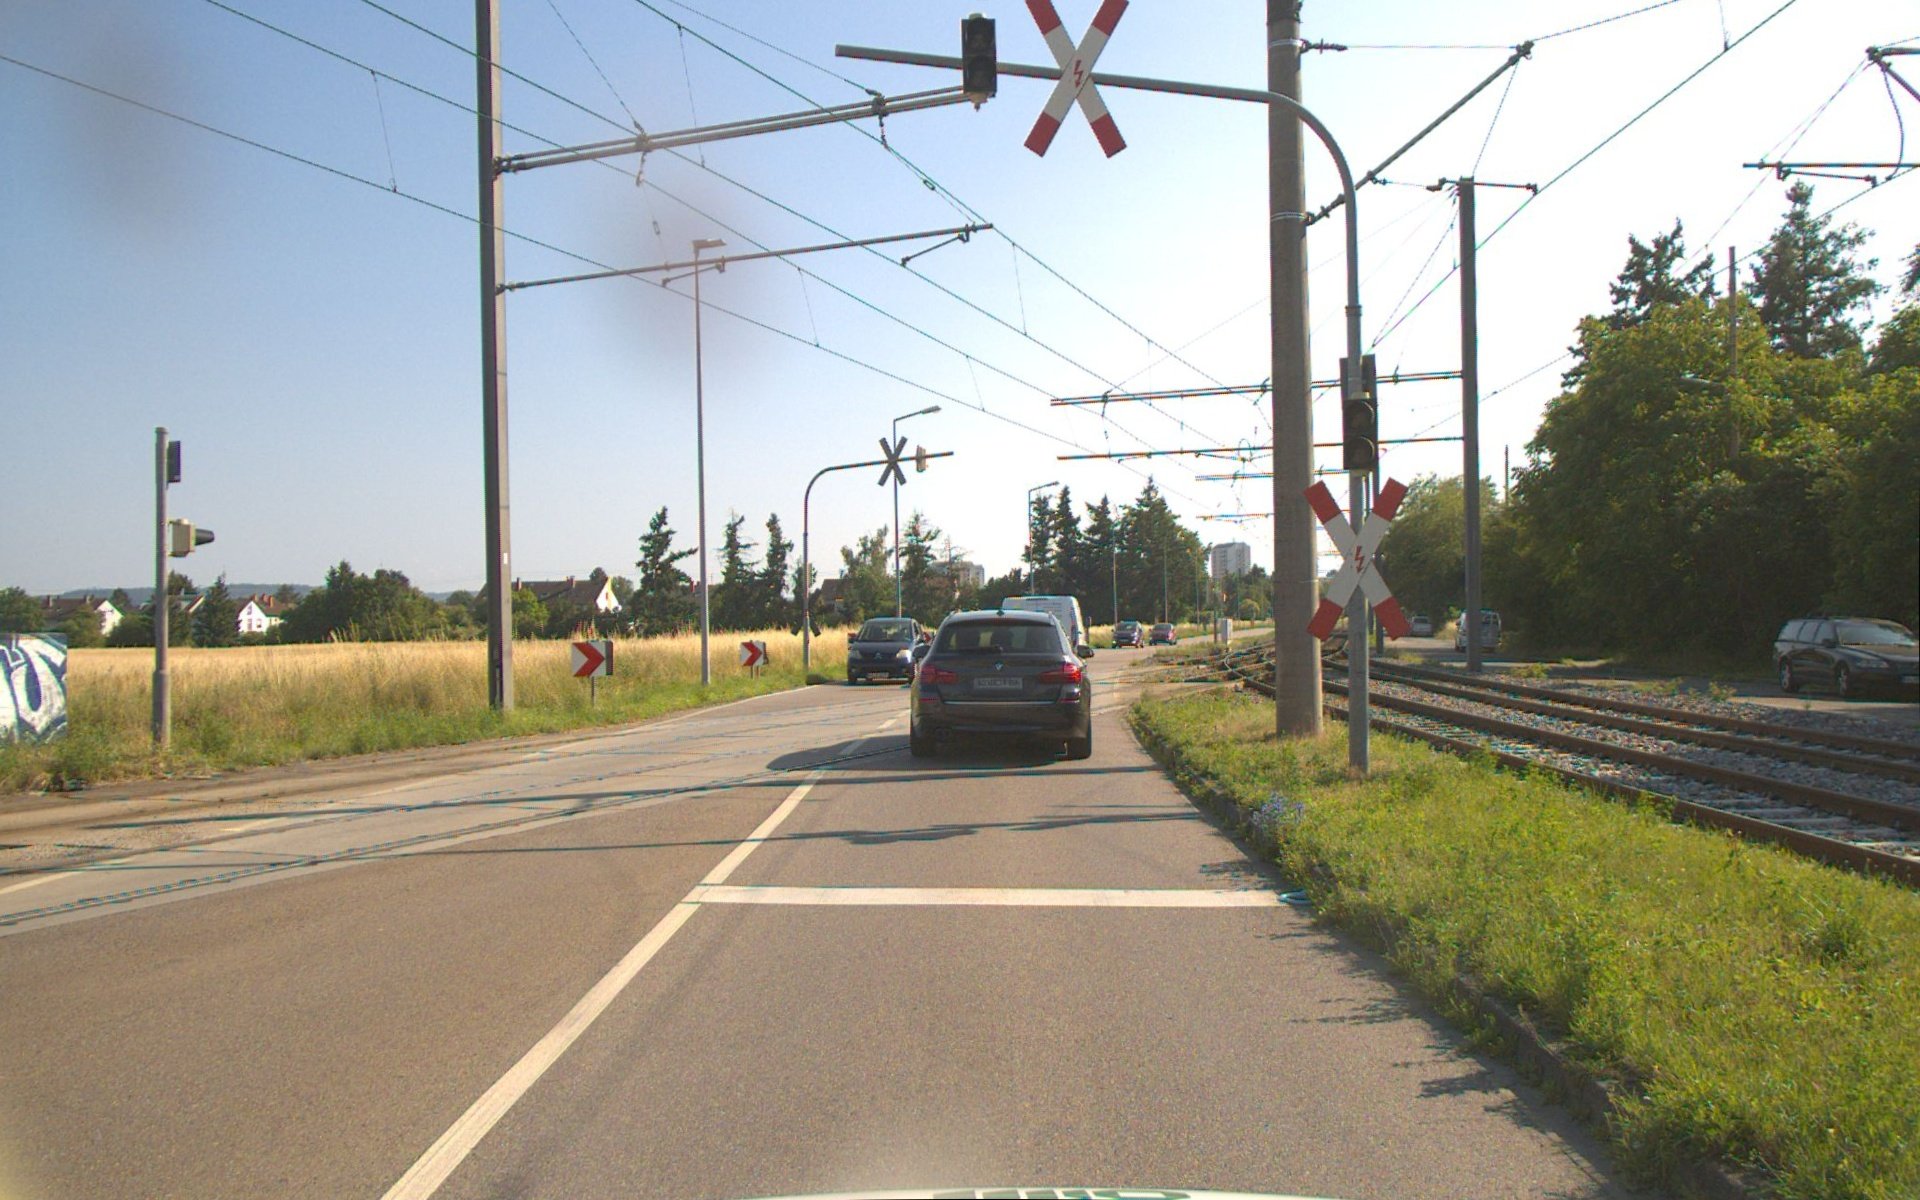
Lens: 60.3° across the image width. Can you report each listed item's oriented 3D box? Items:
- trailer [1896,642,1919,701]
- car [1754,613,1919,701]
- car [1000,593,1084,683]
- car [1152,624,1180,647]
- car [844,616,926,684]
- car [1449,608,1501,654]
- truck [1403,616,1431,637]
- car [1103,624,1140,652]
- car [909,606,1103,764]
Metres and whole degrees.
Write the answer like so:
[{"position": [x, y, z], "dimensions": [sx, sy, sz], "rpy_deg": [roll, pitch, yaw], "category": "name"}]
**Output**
[{"position": [16.545, 1.194, 26.063], "dimensions": [1.695, 0.956, 3.730], "rpy_deg": [2, -1, 5], "category": "trailer"}, {"position": [16.629, 1.003, 30.971], "dimensions": [1.662, 1.482, 4.884], "rpy_deg": [2, 0, 7], "category": "car"}, {"position": [2.023, 0.875, 39.632], "dimensions": [1.818, 2.023, 5.111], "rpy_deg": [0, -1, 5], "category": "car"}, {"position": [14.790, 2.512, 118.747], "dimensions": [1.676, 1.576, 3.931], "rpy_deg": [-1, -1, 12], "category": "car"}, {"position": [-1.761, 1.179, 39.668], "dimensions": [1.590, 1.520, 4.001], "rpy_deg": [-1, -1, 2], "category": "car"}, {"position": [24.594, 1.464, 79.125], "dimensions": [1.951, 2.039, 5.071], "rpy_deg": [2, -1, 13], "category": "car"}, {"position": [42.132, 2.447, 152.628], "dimensions": [2.157, 1.851, 5.934], "rpy_deg": [-1, -1, 13], "category": "truck"}, {"position": [10.270, 2.371, 104.695], "dimensions": [1.670, 1.694, 4.593], "rpy_deg": [-1, -1, 14], "category": "car"}, {"position": [0.433, 0.808, 18.003], "dimensions": [1.831, 1.478, 4.743], "rpy_deg": [0, 0, 0], "category": "car"}]
